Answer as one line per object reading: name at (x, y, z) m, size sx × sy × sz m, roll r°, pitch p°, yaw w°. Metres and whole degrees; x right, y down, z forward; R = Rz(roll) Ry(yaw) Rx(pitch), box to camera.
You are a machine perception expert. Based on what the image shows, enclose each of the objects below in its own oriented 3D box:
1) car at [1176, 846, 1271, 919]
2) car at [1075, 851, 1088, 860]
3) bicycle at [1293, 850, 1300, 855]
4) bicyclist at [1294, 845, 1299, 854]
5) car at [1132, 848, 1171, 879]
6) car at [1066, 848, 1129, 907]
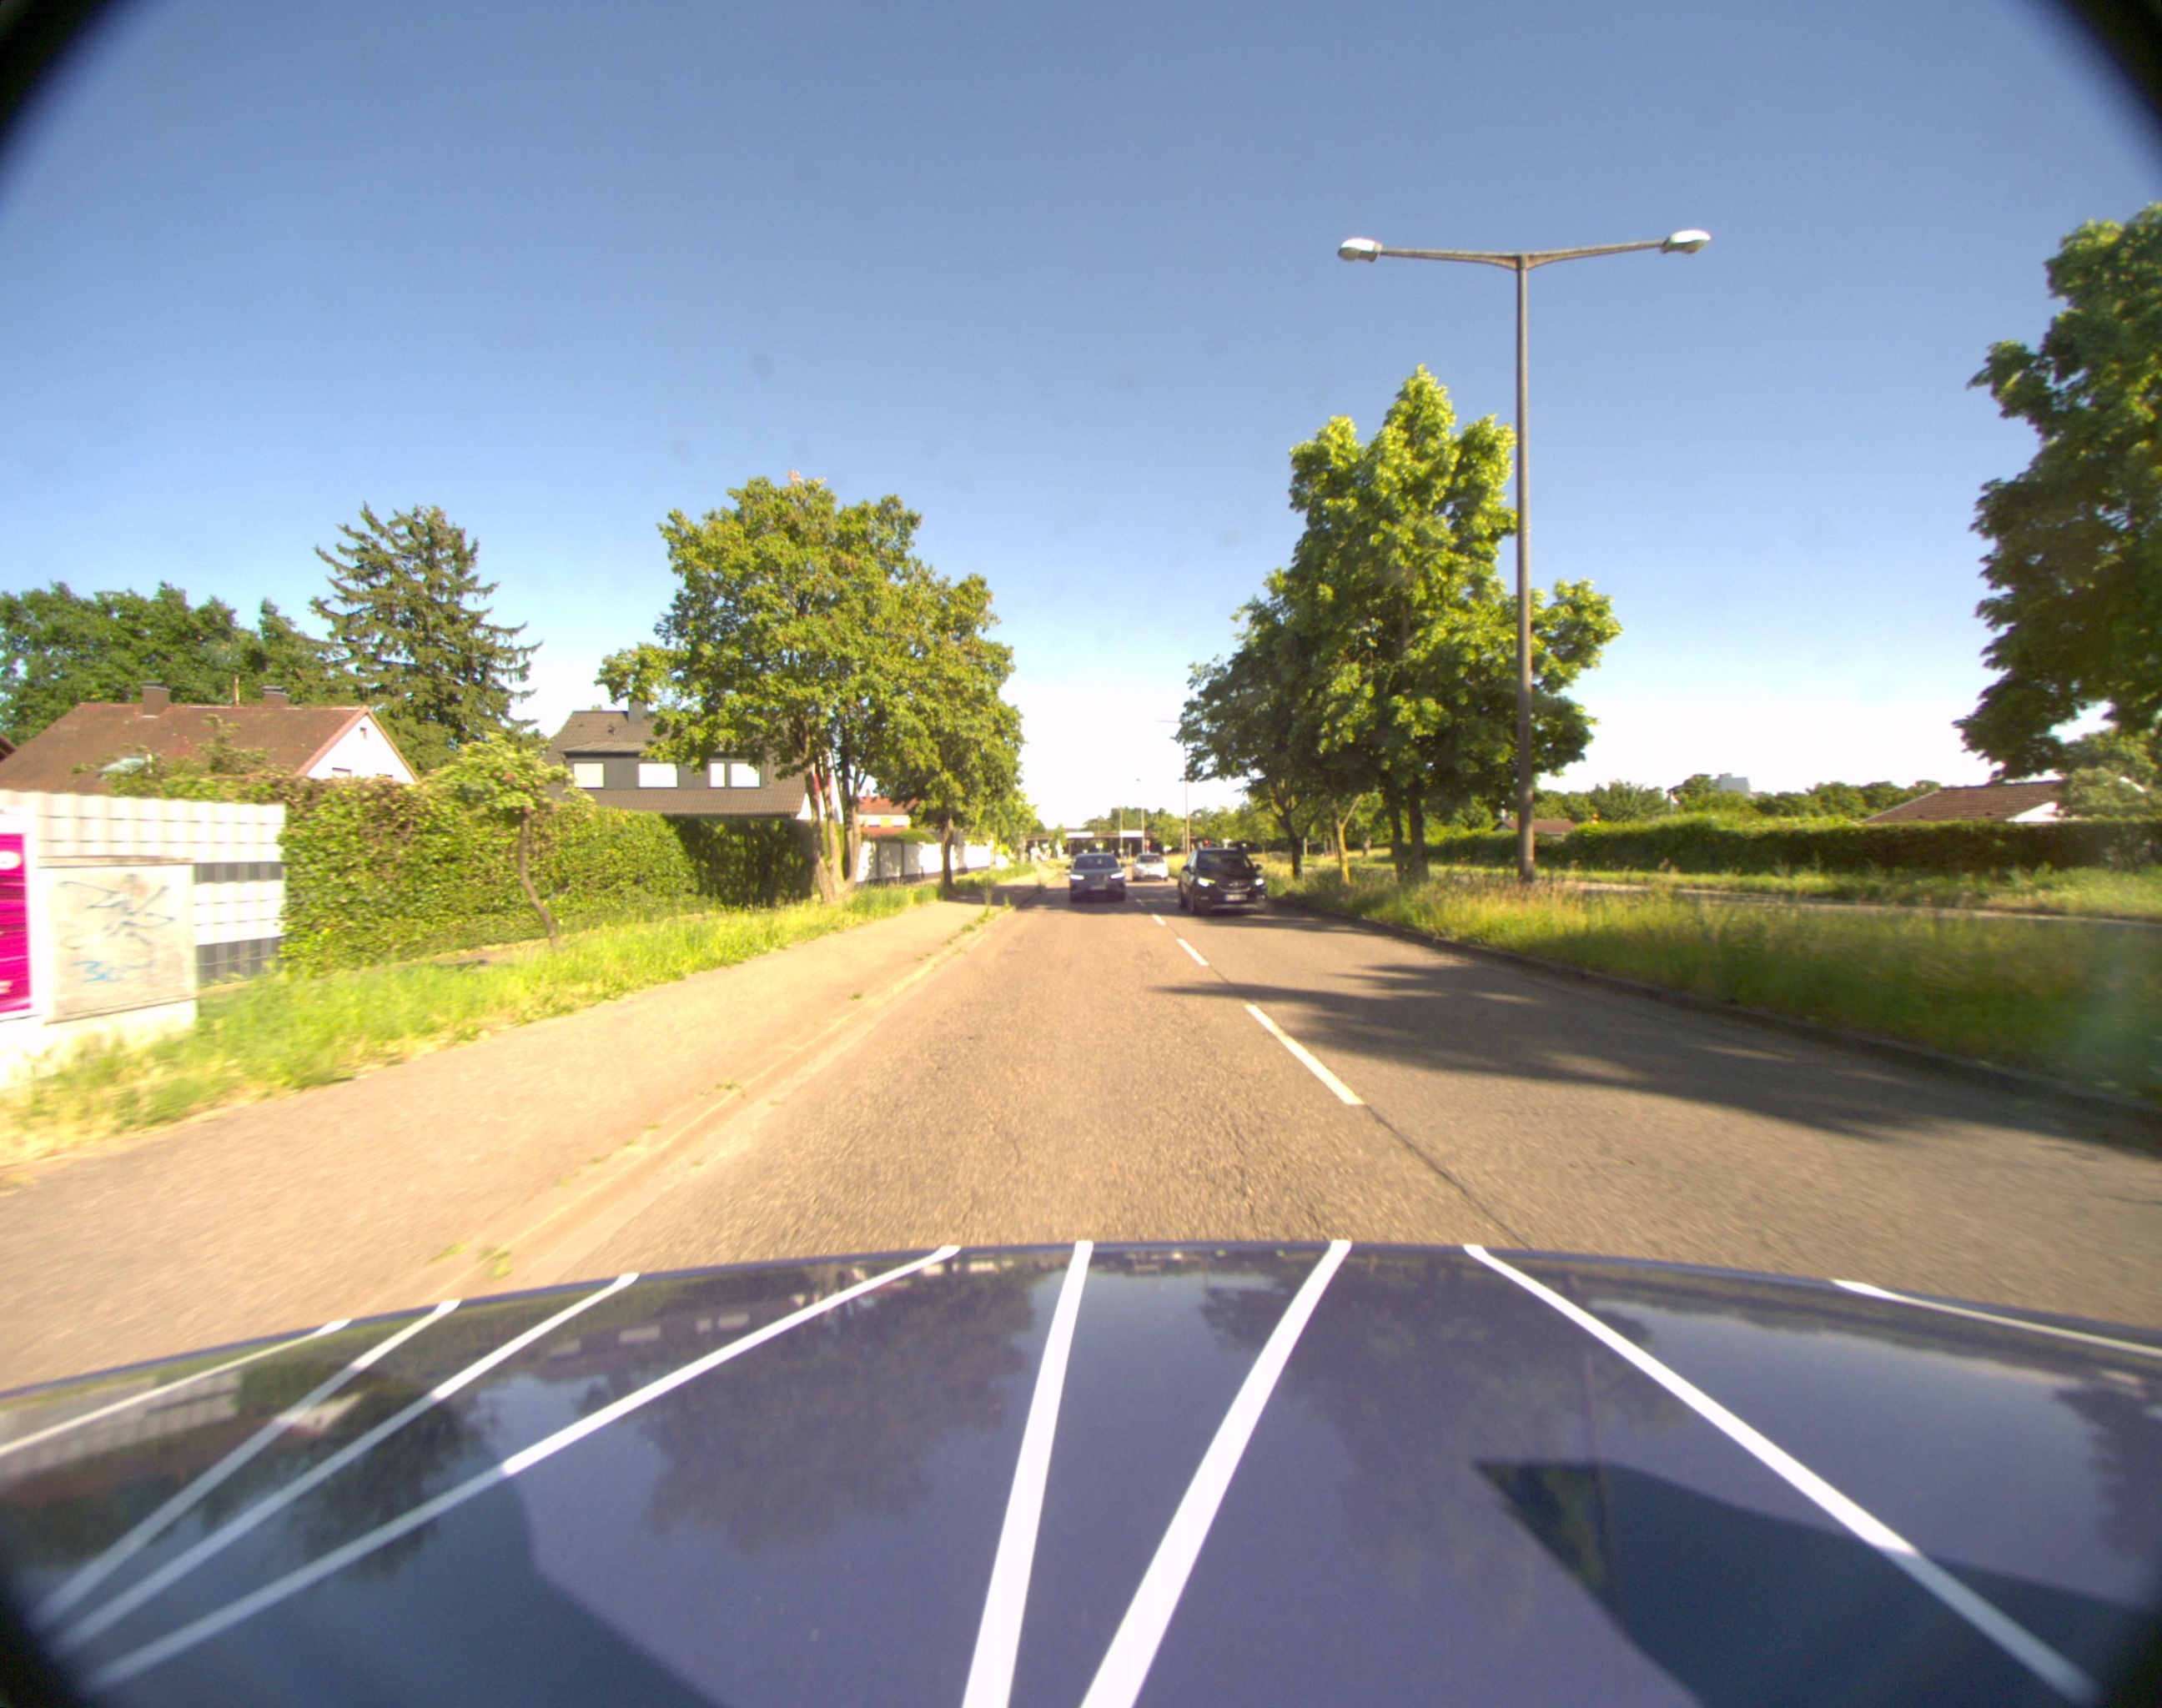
car at (3.509, 0.636, 19.371) m, size 1.714 × 1.653 × 3.856 m, roll -1°, pitch 0°, yaw 1°
car at (0.016, 0.307, 144.557) m, size 1.874 × 1.611 × 3.833 m, roll -2°, pitch 0°, yaw -8°
bicycle at (29.422, -0.193, 103.803) m, size 0.566 × 0.691 × 1.876 m, roll -2°, pitch 0°, yaw 7°
bicyclist at (29.421, -0.613, 103.713) m, size 0.584 × 1.249 × 0.576 m, roll -2°, pitch 1°, yaw 6°
car at (3.911, 0.483, 42.683) m, size 1.830 × 1.604 × 4.092 m, roll -1°, pitch 0°, yaw 1°
car at (0.559, 0.713, 25.052) m, size 1.801 × 1.664 × 4.240 m, roll -4°, pitch 0°, yaw 2°
